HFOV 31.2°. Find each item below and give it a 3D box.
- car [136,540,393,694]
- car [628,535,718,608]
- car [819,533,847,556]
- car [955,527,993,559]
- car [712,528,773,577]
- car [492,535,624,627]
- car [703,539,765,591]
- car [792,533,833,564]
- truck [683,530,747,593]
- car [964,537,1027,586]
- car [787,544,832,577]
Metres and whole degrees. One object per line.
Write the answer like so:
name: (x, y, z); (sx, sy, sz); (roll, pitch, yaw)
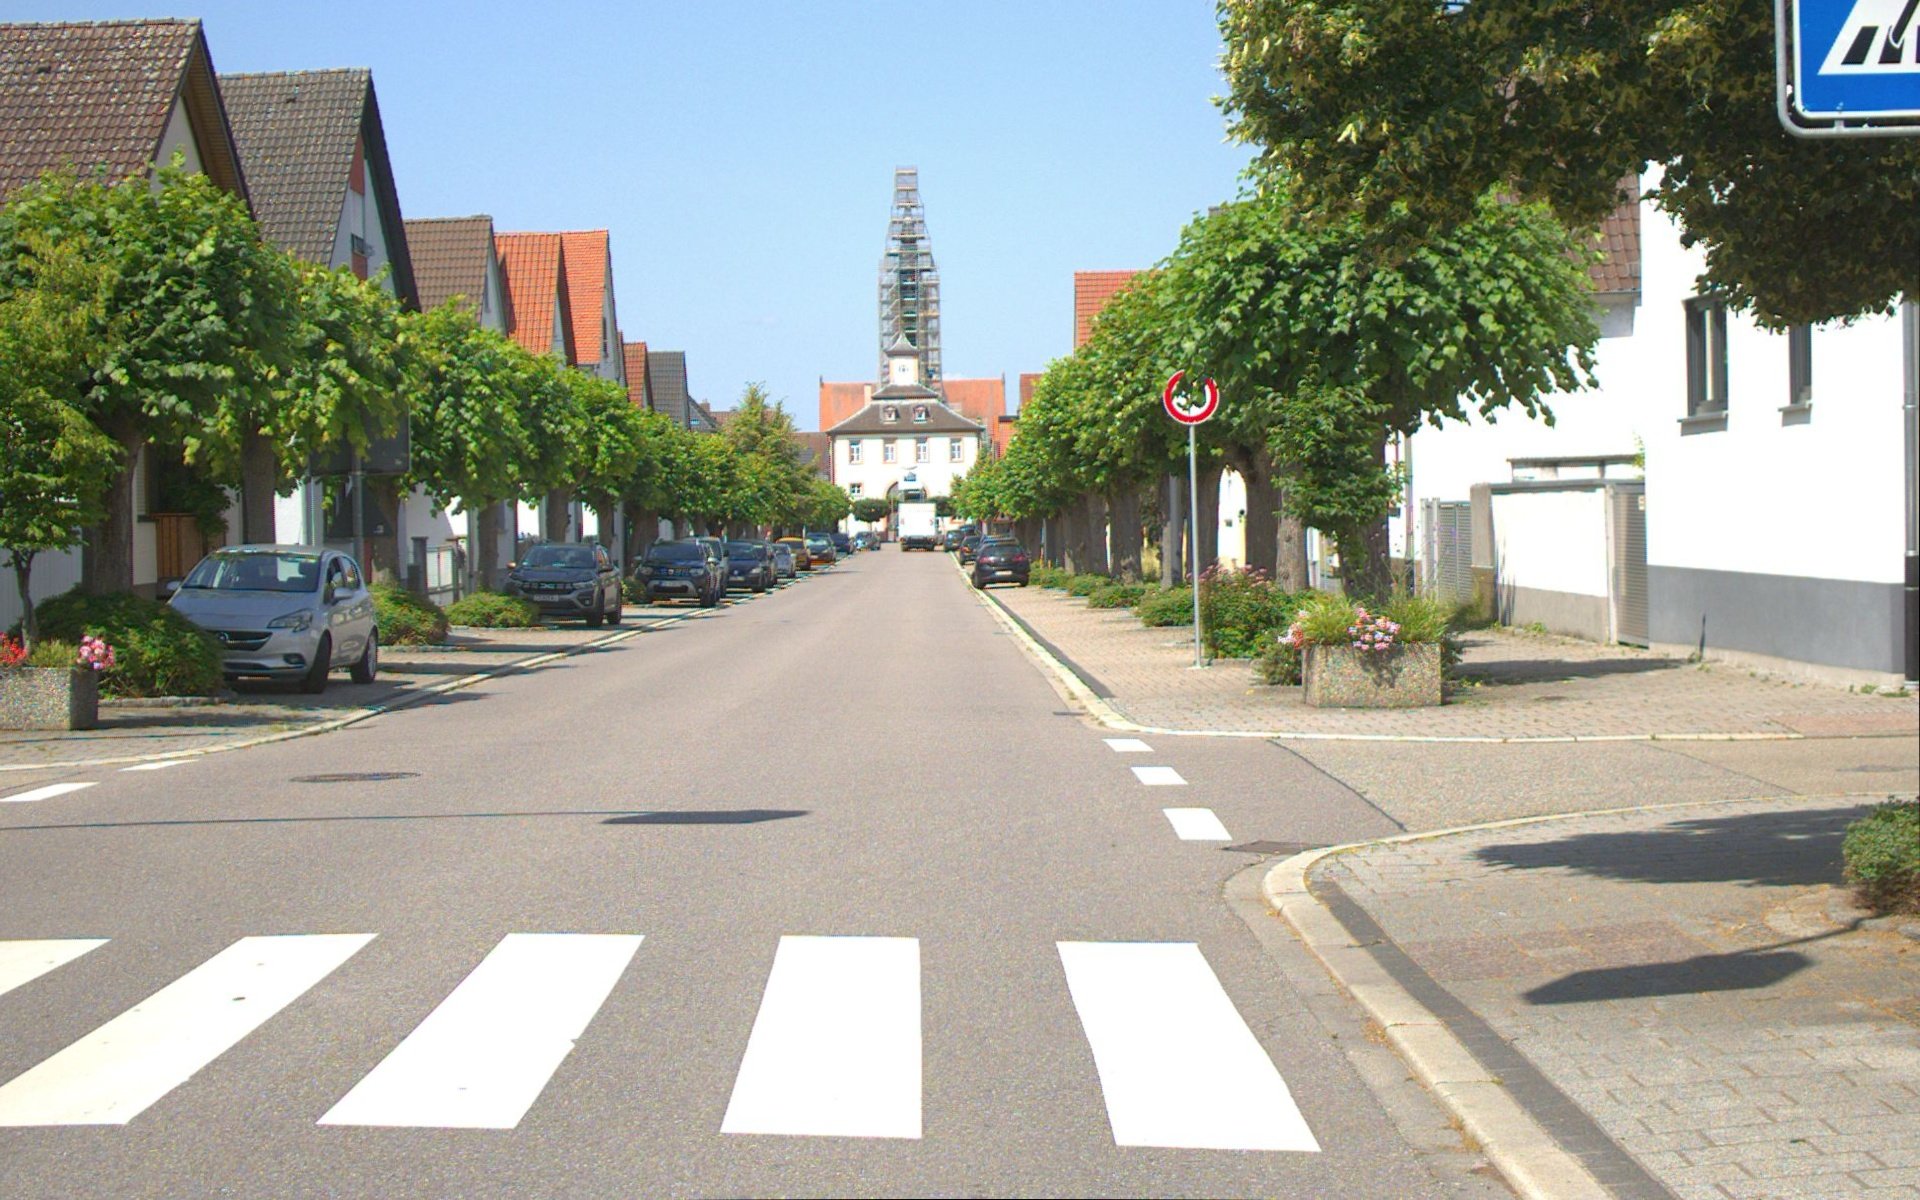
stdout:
car: (-7.159, 0.135, 35.772); (1.825, 1.478, 4.133); (1, 1, 0)
car: (-6.973, -0.716, 83.864); (1.853, 1.630, 4.299); (1, 2, -1)
car: (-8.711, -3.814, 235.933); (1.757, 1.550, 4.020); (-1, 1, 0)
car: (0.729, -2.996, 178.953); (1.837, 1.550, 4.314); (-3, 1, -1)
car: (-7.366, -1.606, 116.663); (1.853, 1.629, 4.057); (1, 1, -1)
car: (-7.391, -0.377, 63.556); (1.853, 1.607, 4.135); (1, 1, 1)
car: (-7.180, -1.113, 108.882); (1.785, 1.628, 4.001); (0, 1, -6)
car: (-8.212, -2.888, 192.270); (1.993, 1.606, 4.689); (2, 2, 0)
truck: (-7.107, -1.132, 100.152); (1.576, 1.759, 4.192); (1, 1, -1)
car: (1.104, -1.236, 109.270); (1.824, 1.427, 4.057); (-3, 1, -1)
car: (-7.505, -1.993, 171.752); (1.993, 1.606, 4.689); (1, 1, 0)
